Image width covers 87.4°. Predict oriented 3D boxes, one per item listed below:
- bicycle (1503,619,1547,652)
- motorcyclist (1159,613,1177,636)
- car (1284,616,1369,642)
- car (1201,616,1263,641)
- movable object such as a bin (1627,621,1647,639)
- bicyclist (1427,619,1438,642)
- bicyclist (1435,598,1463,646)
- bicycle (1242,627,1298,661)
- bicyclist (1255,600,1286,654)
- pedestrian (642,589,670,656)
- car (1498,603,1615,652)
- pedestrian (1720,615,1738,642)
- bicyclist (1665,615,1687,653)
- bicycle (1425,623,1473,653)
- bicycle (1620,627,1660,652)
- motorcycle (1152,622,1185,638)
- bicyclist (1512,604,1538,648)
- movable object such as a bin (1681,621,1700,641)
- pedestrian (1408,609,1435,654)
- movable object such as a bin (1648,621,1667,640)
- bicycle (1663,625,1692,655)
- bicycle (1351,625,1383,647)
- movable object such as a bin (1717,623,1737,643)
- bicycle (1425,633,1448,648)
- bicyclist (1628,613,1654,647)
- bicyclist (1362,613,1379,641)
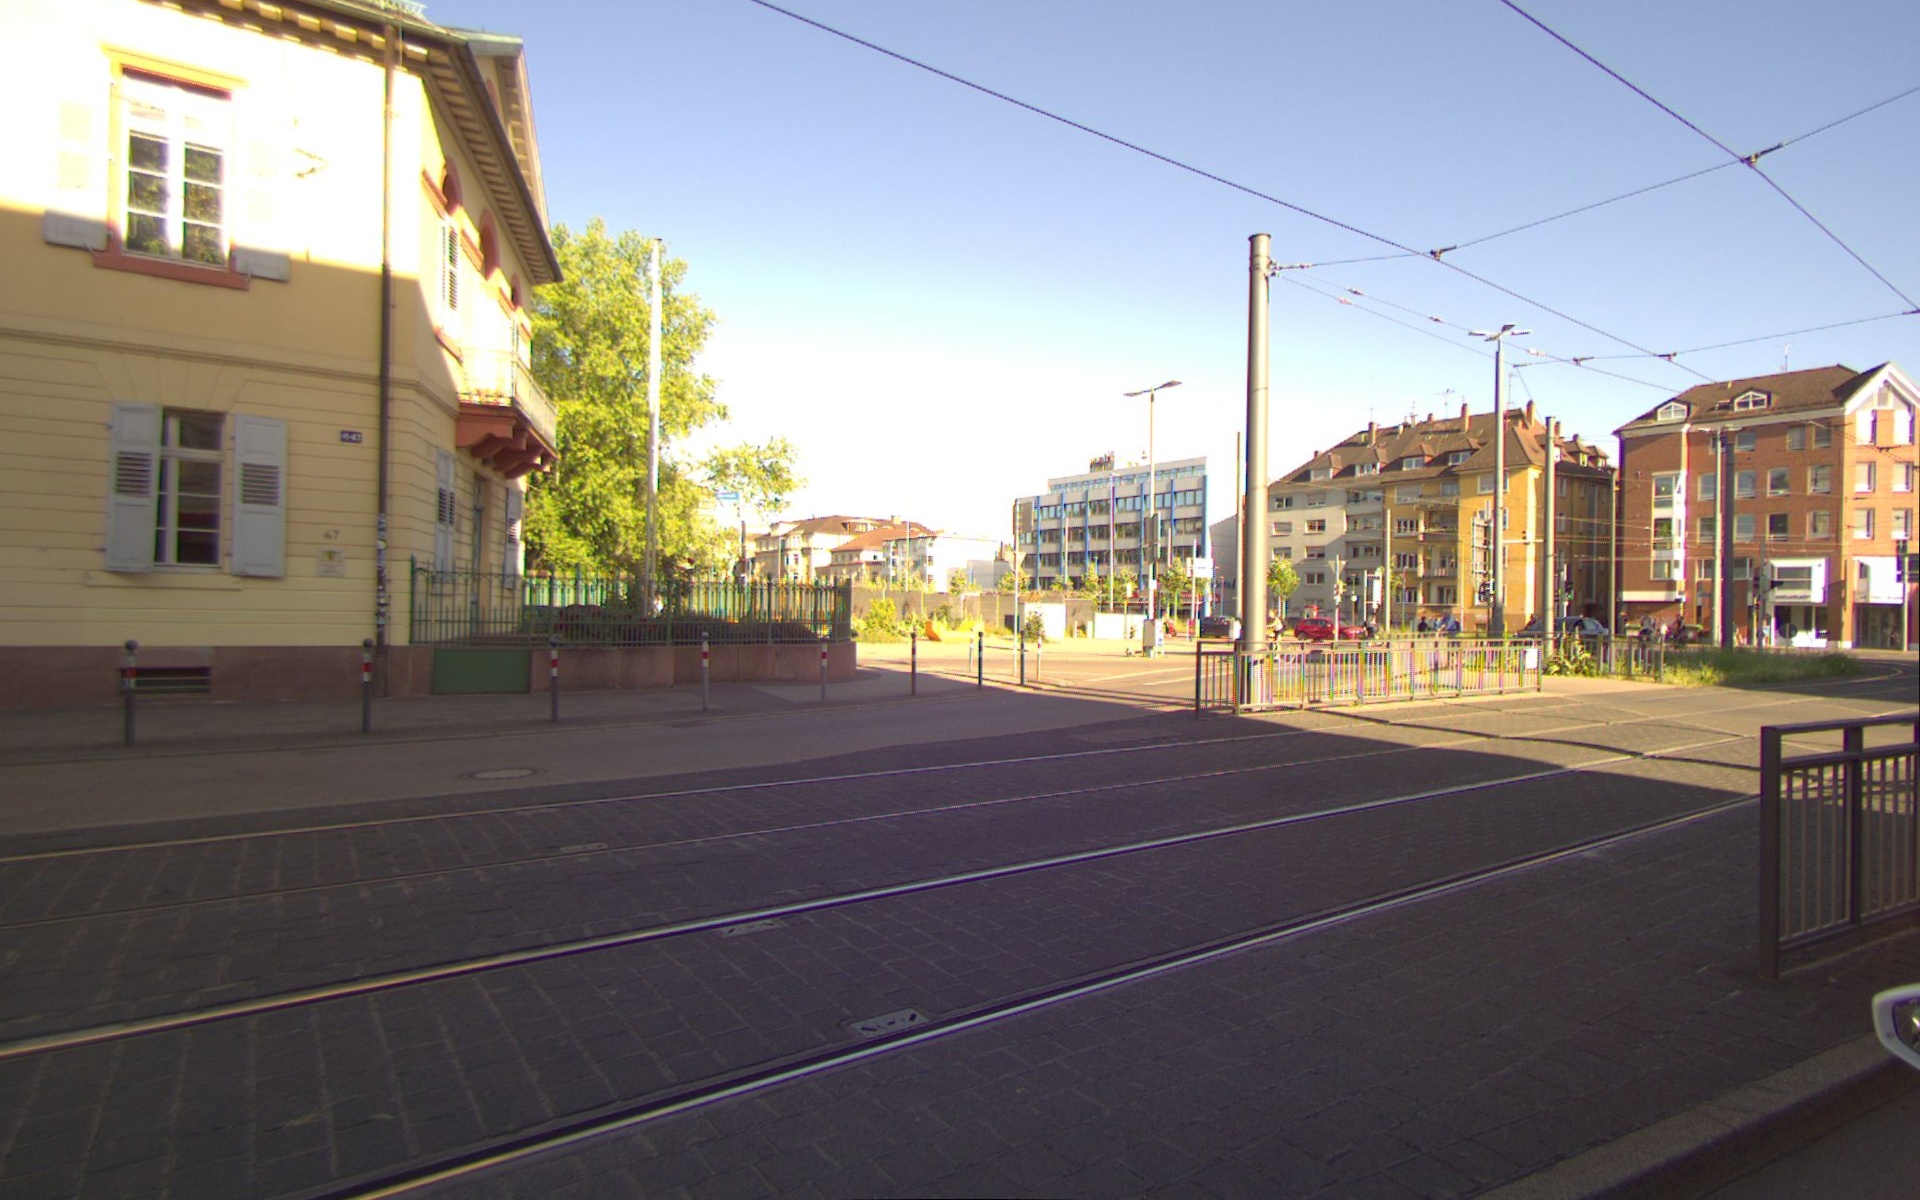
[{"bbox_3d":[21.890,1.385,38.902,1.862,1.230,0.527,2,0,-29],"label":"bicycle"},{"bbox_3d":[14.449,1.724,69.735,0.775,1.544,0.914,2,0,-36],"label":"motorcyclist"},{"bbox_3d":[21.811,1.712,59.910,1.768,1.529,4.513,1,-2,-39],"label":"car"},{"bbox_3d":[17.715,1.821,65.509,1.560,1.491,3.673,2,0,-36],"label":"car"},{"bbox_3d":[54.551,2.415,80.928,1.087,1.456,0.988,2,0,-39],"label":"movable object such as a bin"},{"bbox_3d":[27.329,1.762,58.138,0.453,1.333,0.397,2,0,44],"label":"bicyclist"},{"bbox_3d":[17.740,0.791,36.466,0.760,1.695,0.519,2,0,-27],"label":"bicyclist"},{"bbox_3d":[9.803,1.386,31.725,1.873,1.027,0.527,2,0,-29],"label":"bicycle"},{"bbox_3d":[9.814,0.849,31.716,0.761,1.695,0.522,2,0,-28],"label":"bicyclist"},{"bbox_3d":[-8.517,0.631,28.144,0.694,1.841,0.593,2,0,-20],"label":"pedestrian"},{"bbox_3d":[20.422,0.952,34.349,4.074,1.581,1.676,2,0,-30],"label":"car"},{"bbox_3d":[51.033,1.902,66.691,0.921,1.733,0.690,2,0,-36],"label":"pedestrian"},{"bbox_3d":[32.594,1.541,45.724,0.800,1.671,0.583,2,0,-41],"label":"bicyclist"},{"bbox_3d":[17.776,1.384,36.511,1.860,1.027,0.528,2,0,-27],"label":"bicycle"},{"bbox_3d":[29.986,1.749,44.301,1.862,1.027,0.647,2,0,-29],"label":"bicycle"},{"bbox_3d":[14.454,2.080,69.725,0.784,0.997,2.342,2,0,-36],"label":"motorcycle"},{"bbox_3d":[21.908,1.002,38.918,0.761,1.695,0.518,2,0,-29],"label":"bicyclist"},{"bbox_3d":[56.710,2.416,77.975,1.087,1.456,0.988,2,0,-39],"label":"movable object such as a bin"},{"bbox_3d":[20.706,1.415,45.100,0.788,1.959,0.720,2,0,-27],"label":"pedestrian"},{"bbox_3d":[55.465,2.442,79.887,1.087,1.456,0.988,2,0,-39],"label":"movable object such as a bin"},{"bbox_3d":[32.779,1.824,45.880,2.011,1.308,0.568,2,0,-41],"label":"bicycle"},{"bbox_3d":[22.170,1.956,54.680,0.608,1.148,1.481,2,0,-43],"label":"bicycle"},{"bbox_3d":[58.096,2.519,76.068,1.087,1.456,0.988,2,0,-39],"label":"movable object such as a bin"},{"bbox_3d":[27.468,2.338,57.948,1.160,0.774,0.318,2,0,45],"label":"bicycle"},{"bbox_3d":[30.025,1.312,44.310,0.722,1.473,0.661,2,0,-29],"label":"bicyclist"},{"bbox_3d":[22.287,1.482,54.558,0.605,1.513,0.608,2,0,-44],"label":"bicyclist"}]
